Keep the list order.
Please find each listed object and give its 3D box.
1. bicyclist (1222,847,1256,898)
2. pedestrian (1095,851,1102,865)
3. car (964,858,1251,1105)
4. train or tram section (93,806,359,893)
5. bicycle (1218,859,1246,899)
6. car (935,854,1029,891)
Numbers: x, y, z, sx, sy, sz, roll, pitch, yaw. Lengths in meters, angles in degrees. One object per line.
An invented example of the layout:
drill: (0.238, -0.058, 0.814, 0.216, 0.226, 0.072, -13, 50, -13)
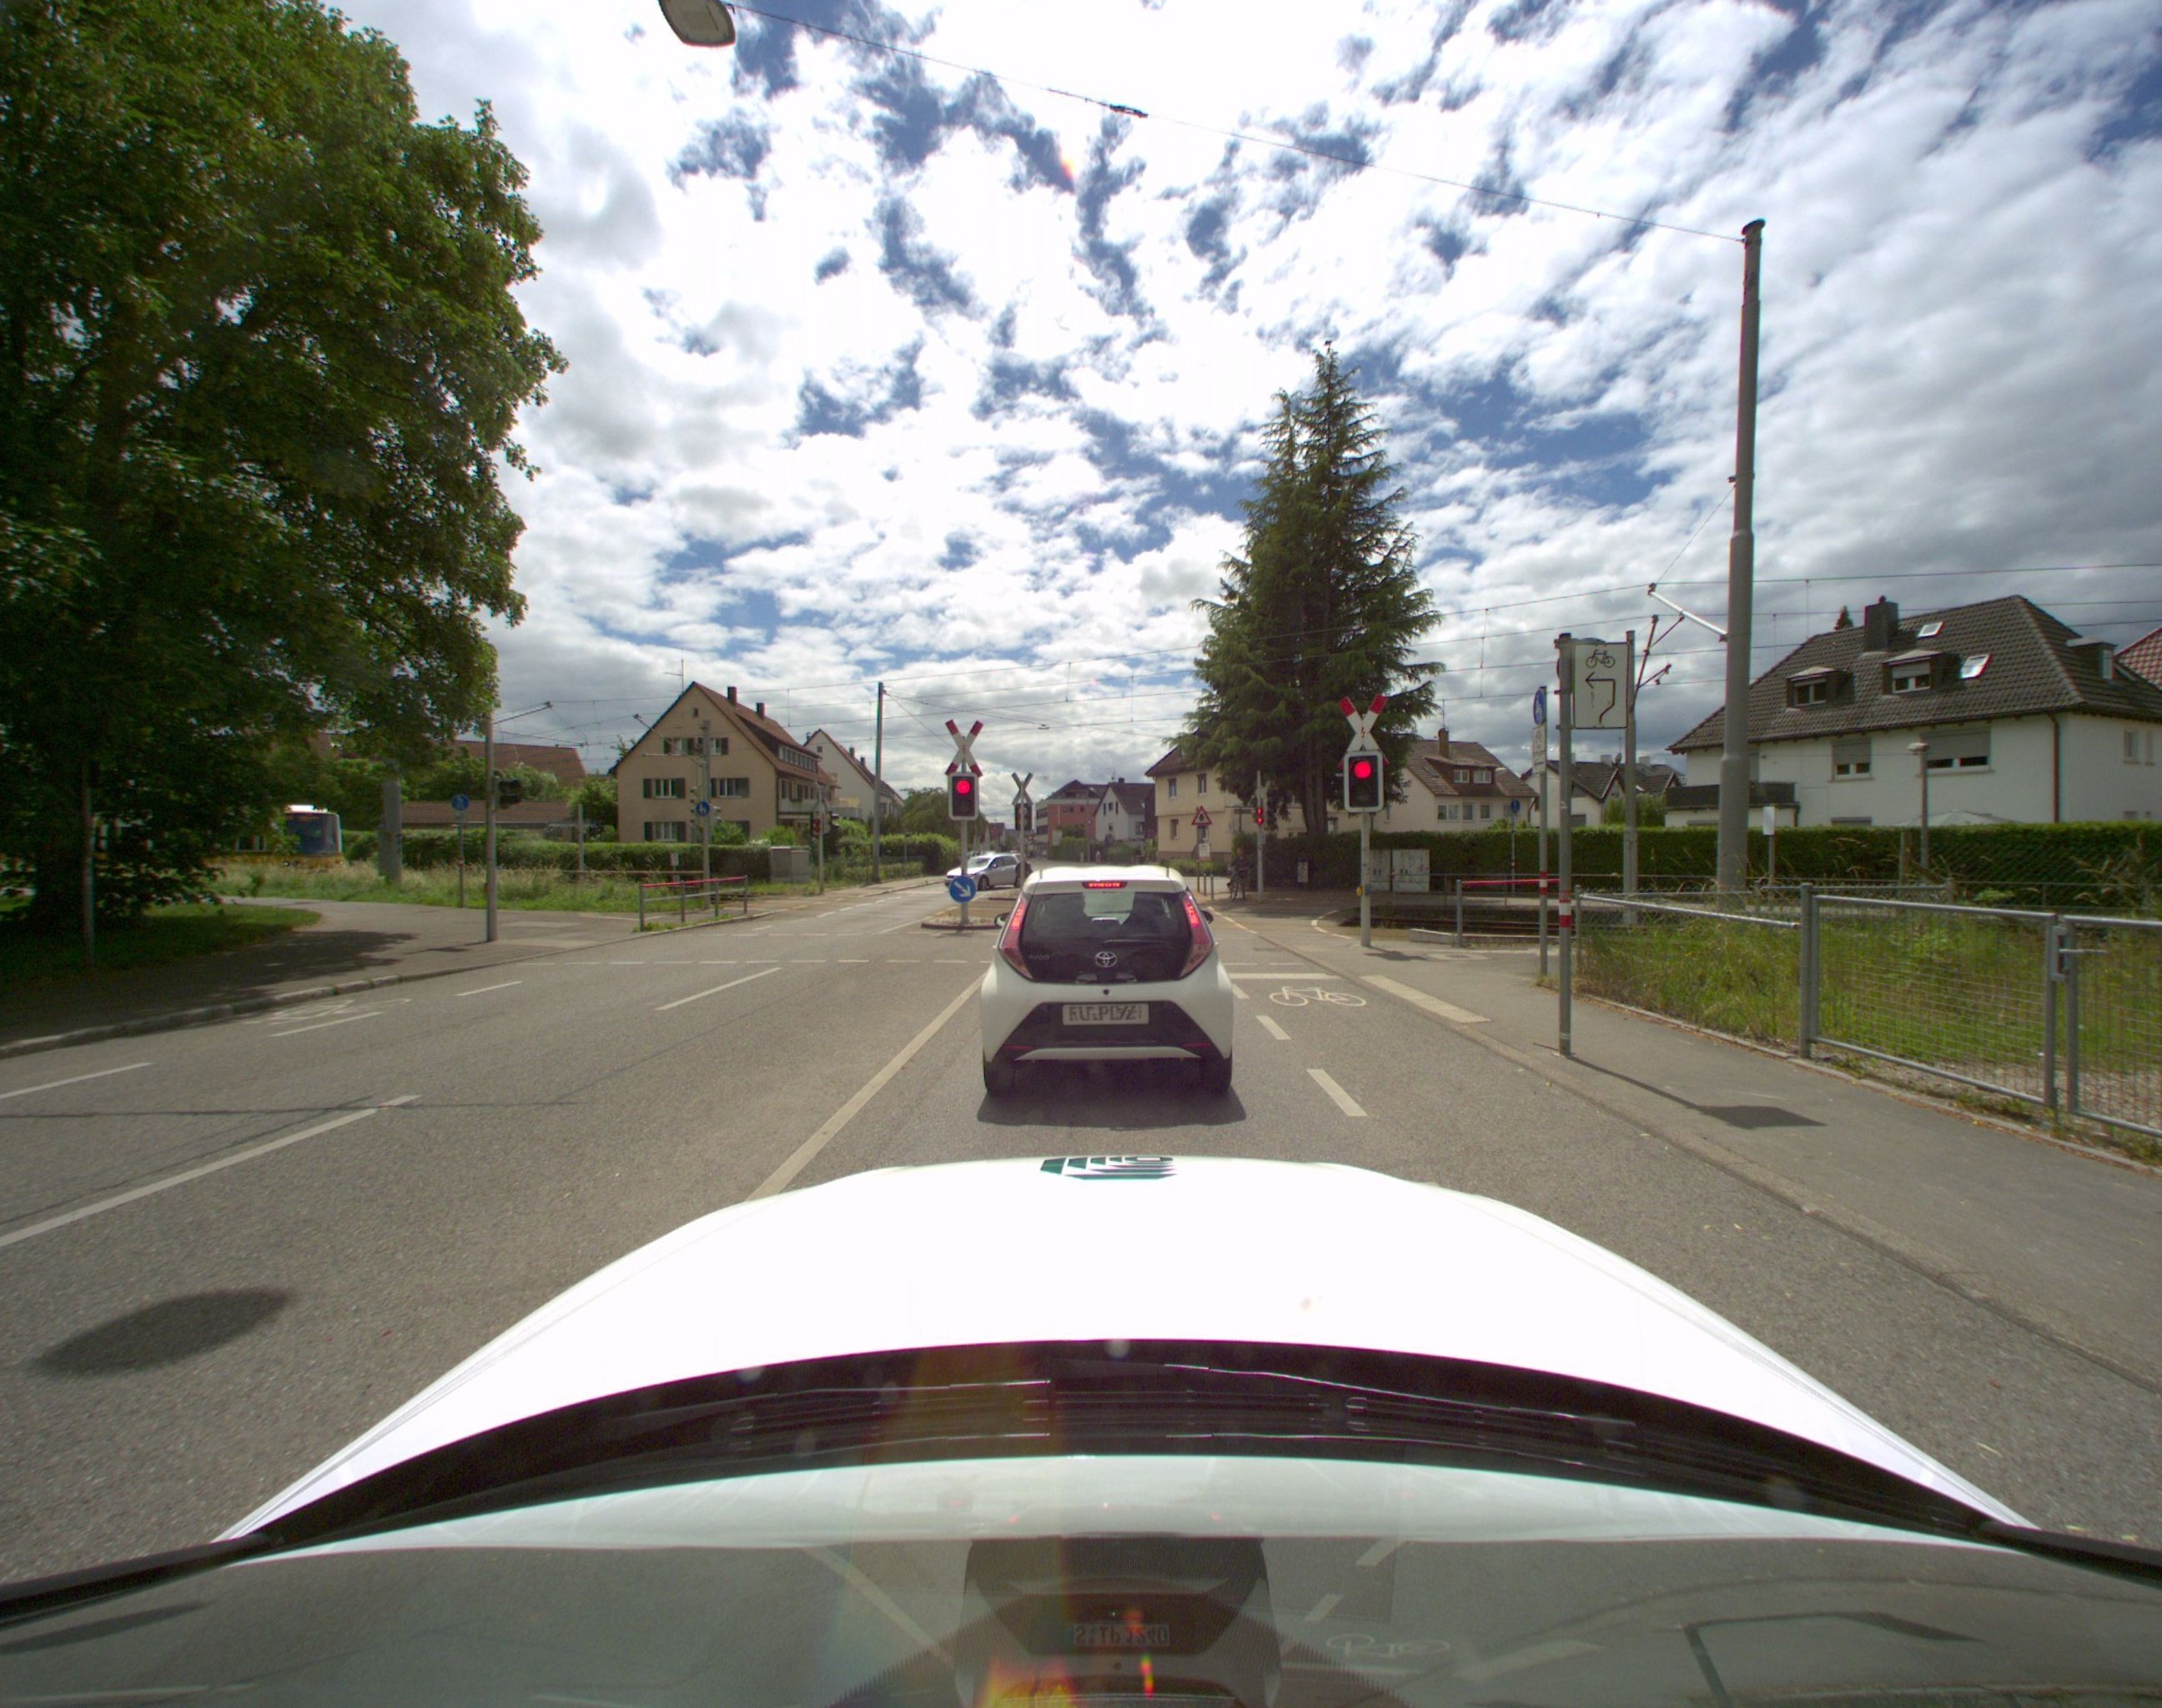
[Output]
bicyclist: (5.065, 0.583, 26.192, 0.839, 1.553, 0.755, -3, 2, -4)
pedestrian: (1.974, 0.479, 92.593, 0.723, 1.576, 0.804, 0, 0, 2)
car: (0.119, 0.767, 6.741, 1.716, 1.442, 3.706, 0, 0, -2)
train or tram section: (-42.436, -0.231, 40.004, 18.885, 3.704, 2.936, 0, 1, 24)
bicycle: (4.852, 0.793, 26.217, 0.456, 1.172, 1.477, -3, 2, -4)
car: (-4.147, 0.750, 34.776, 1.887, 1.441, 4.124, 0, 0, 30)
